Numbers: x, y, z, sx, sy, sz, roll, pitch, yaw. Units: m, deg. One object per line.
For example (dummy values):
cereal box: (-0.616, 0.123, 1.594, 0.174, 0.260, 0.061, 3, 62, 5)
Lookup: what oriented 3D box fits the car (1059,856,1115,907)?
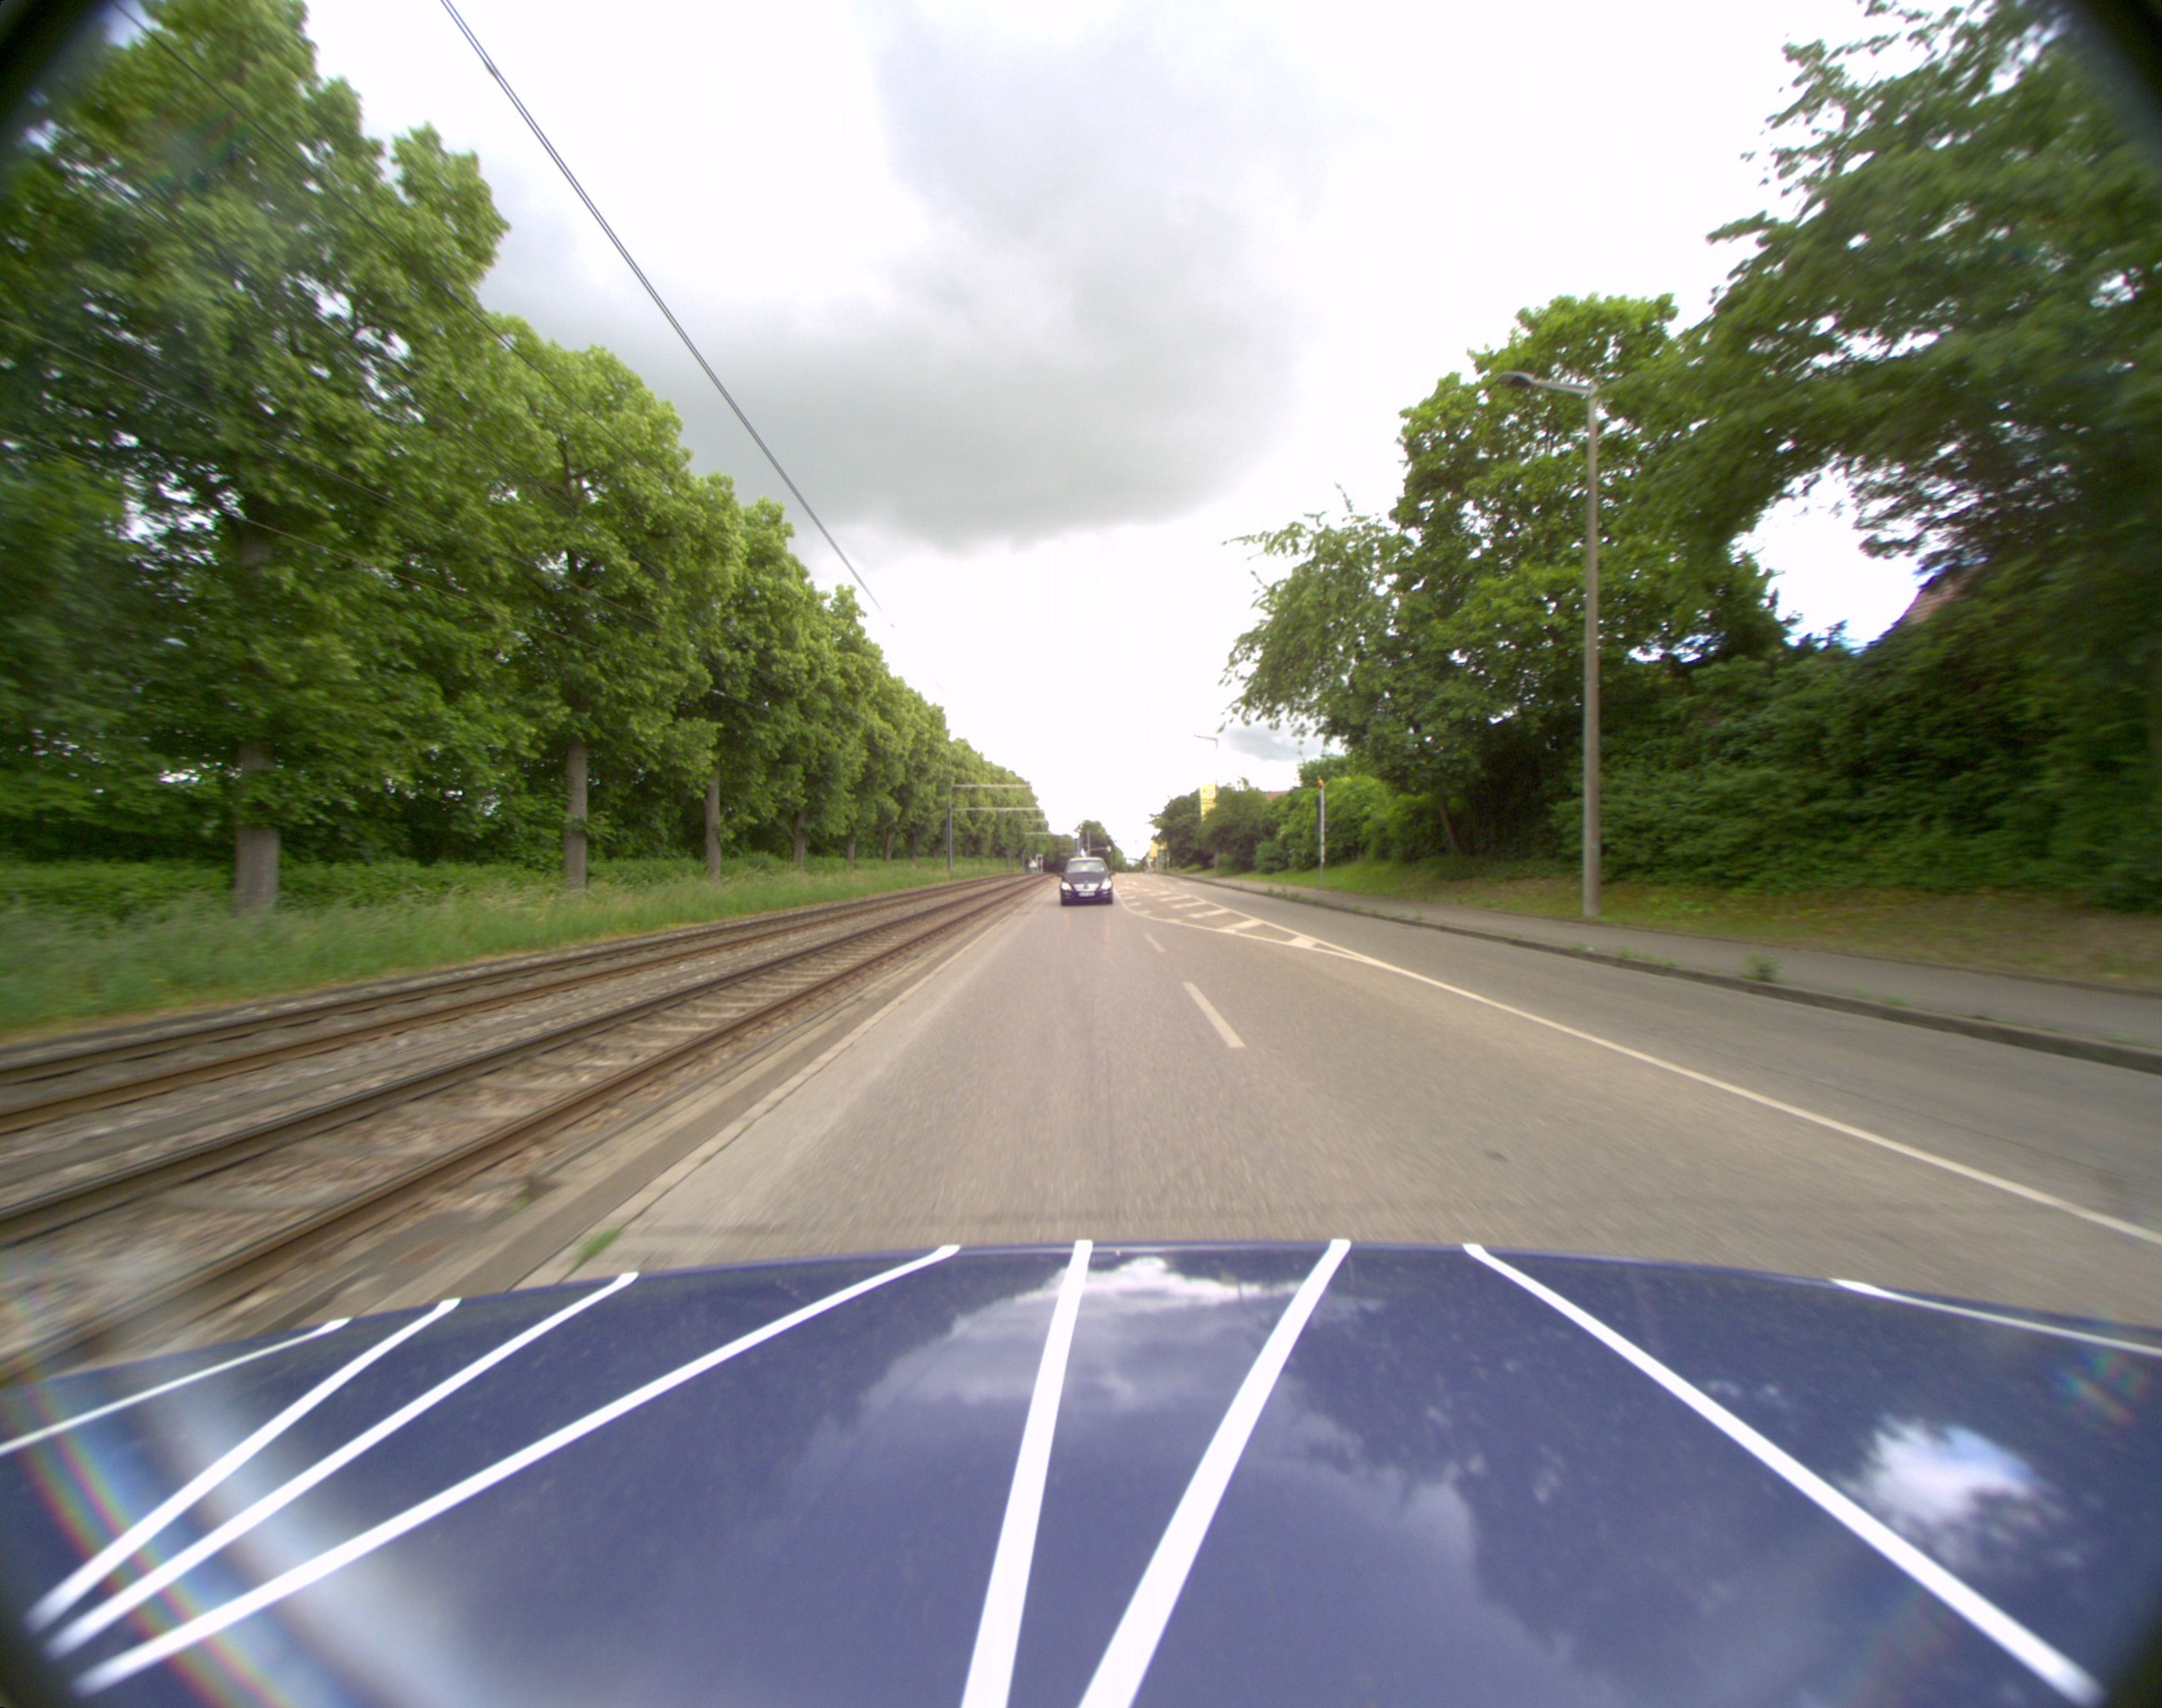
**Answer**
car: (0.280, 0.895, 26.664, 1.749, 1.558, 4.122, -2, 0, 2)
